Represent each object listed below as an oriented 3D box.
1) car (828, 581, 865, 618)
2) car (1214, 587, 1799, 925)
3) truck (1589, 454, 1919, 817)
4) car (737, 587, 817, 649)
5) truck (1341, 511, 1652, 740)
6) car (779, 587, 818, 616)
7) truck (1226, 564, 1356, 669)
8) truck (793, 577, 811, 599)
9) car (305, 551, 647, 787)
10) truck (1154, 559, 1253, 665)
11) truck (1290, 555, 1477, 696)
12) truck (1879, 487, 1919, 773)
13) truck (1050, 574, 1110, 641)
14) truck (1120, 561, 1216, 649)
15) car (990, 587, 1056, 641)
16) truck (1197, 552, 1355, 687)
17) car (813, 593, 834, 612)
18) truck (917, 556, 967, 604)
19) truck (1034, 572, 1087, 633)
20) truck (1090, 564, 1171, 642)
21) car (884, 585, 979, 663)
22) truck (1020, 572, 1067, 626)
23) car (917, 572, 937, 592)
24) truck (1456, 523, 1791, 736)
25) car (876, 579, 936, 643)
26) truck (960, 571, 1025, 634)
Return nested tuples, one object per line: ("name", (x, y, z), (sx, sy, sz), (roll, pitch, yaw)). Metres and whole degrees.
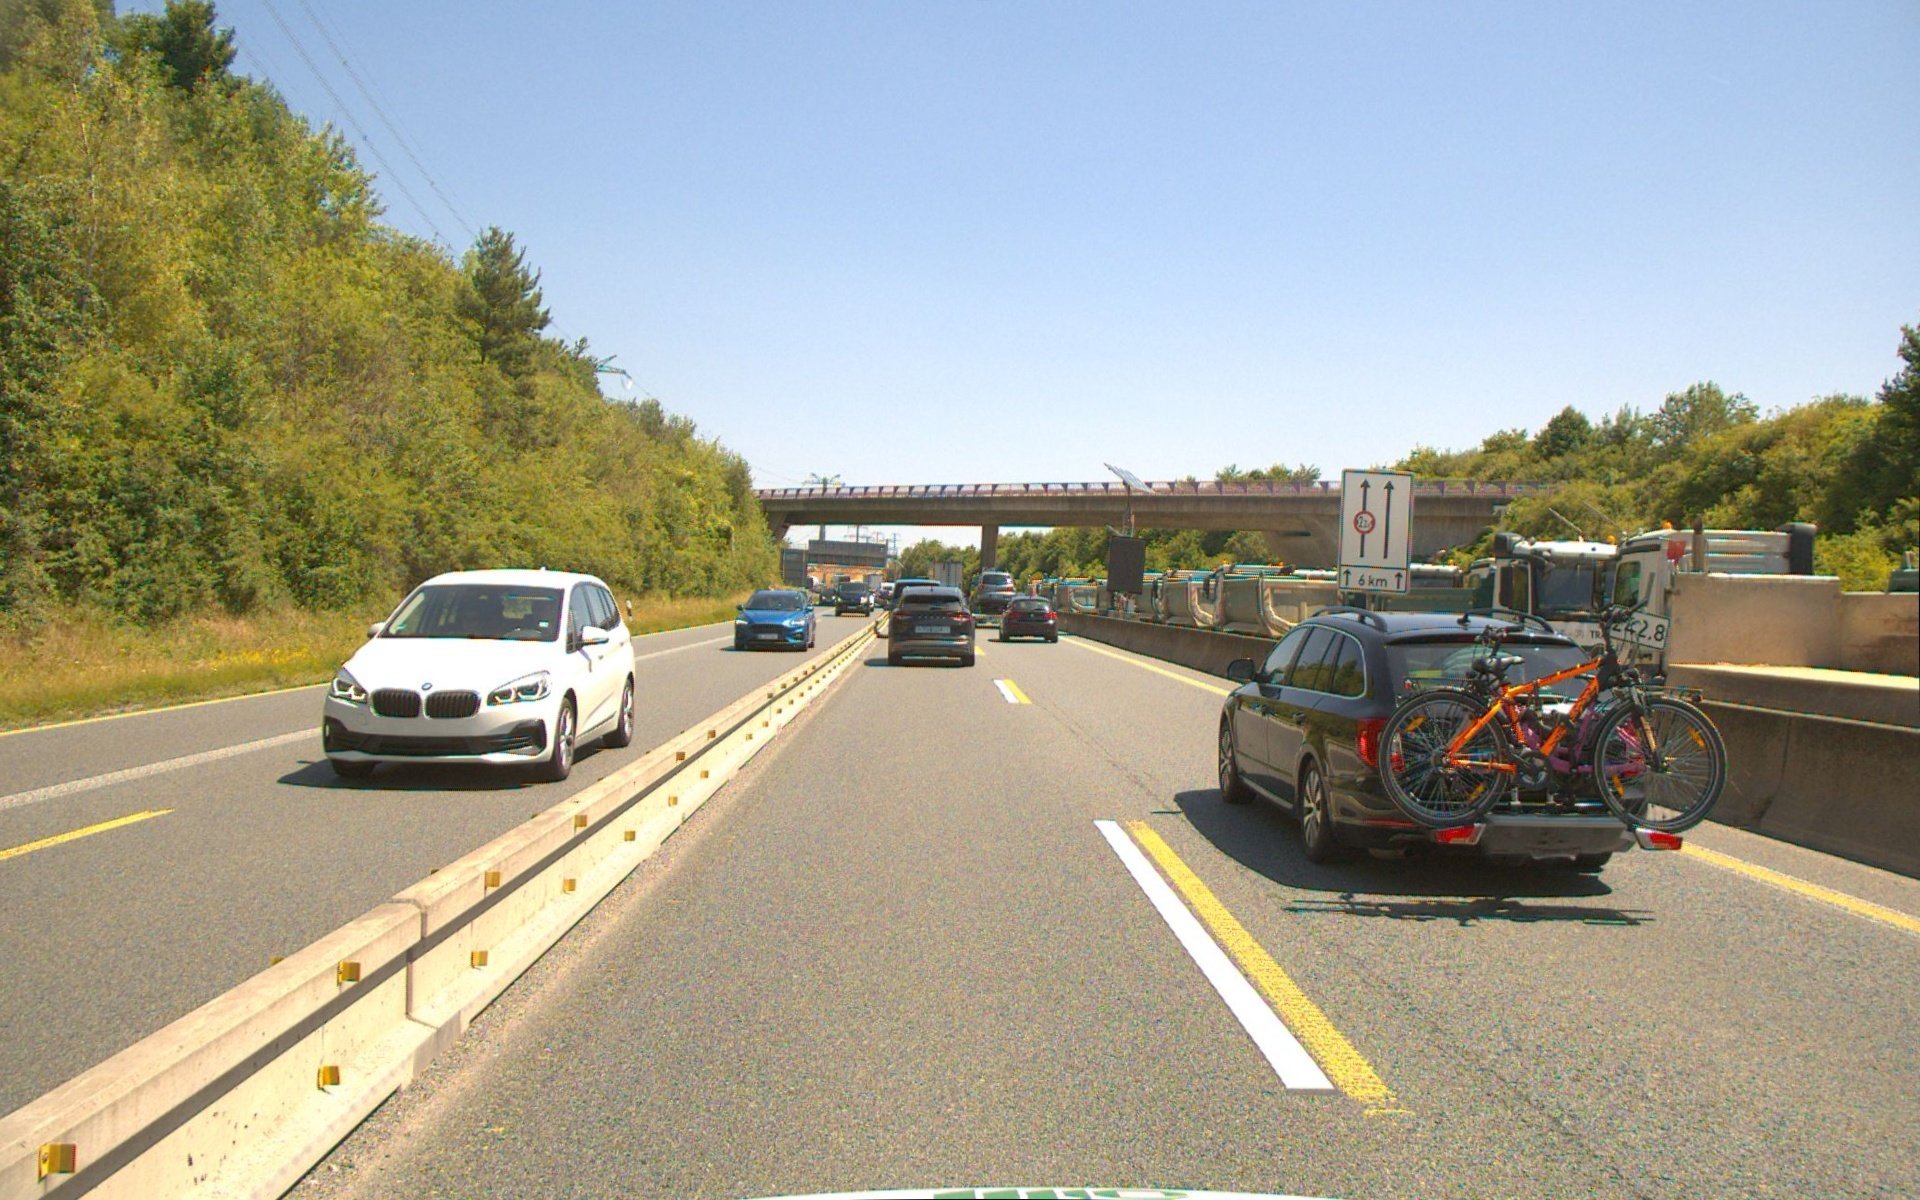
("car", (-6.570, -0.068, 96.042), (1.852, 2.049, 4.817), (2, 0, -1))
("car", (2.907, 0.726, 10.103), (1.860, 1.516, 4.946), (1, 0, -1))
("truck", (10.663, 0.354, 20.106), (2.481, 3.572, 8.943), (1, 0, -1))
("car", (-4.558, 0.441, 41.705), (1.678, 1.450, 4.168), (1, 0, -2))
("truck", (9.716, 0.383, 31.335), (2.487, 3.619, 9.599), (1, 0, -2))
("car", (-8.968, 0.063, 91.899), (1.757, 1.552, 4.530), (2, 0, -1))
("truck", (11.857, 0.527, 60.191), (2.632, 3.437, 9.601), (1, 0, -1))
("truck", (-23.856, -1.777, 249.424), (2.460, 3.242, 10.096), (1, 0, -6))
("car", (-3.890, 0.501, 14.067), (1.727, 1.660, 4.295), (1, 0, -2))
("truck", (8.989, 0.404, 62.084), (2.631, 3.619, 9.409), (1, 0, 2))
("truck", (11.989, 0.639, 47.865), (2.633, 3.619, 9.599), (1, 0, -2))
("truck", (13.385, 0.419, 17.302), (2.633, 3.572, 8.377), (1, 0, -2))
("truck", (7.255, 0.401, 101.221), (2.633, 3.826, 9.321), (1, 0, -2))
("truck", (9.129, 0.179, 73.660), (2.633, 3.619, 9.321), (1, 0, -2))
("car", (1.985, 0.422, 52.955), (1.860, 1.613, 4.275), (1, 0, -1))
("truck", (9.299, 0.499, 49.833), (2.633, 3.619, 9.600), (1, 0, -1))
("car", (-12.176, 0.225, 147.730), (1.665, 1.592, 3.994), (2, 0, -1))
("truck", (-1.609, -1.722, 142.913), (3.229, 3.912, 10.096), (1, 0, -6))
("truck", (6.776, 0.140, 112.619), (2.633, 3.923, 9.321), (1, 0, -2))
("truck", (8.394, 0.125, 82.611), (2.633, 3.619, 9.321), (1, 0, -2))
("car", (-0.596, 0.477, 35.247), (1.860, 1.531, 4.275), (1, 0, -1))
("truck", (6.248, -0.108, 125.236), (2.633, 3.910, 9.321), (1, 0, -2))
("car", (-3.613, -1.927, 178.003), (1.862, 2.003, 4.272), (1, 0, -5))
("truck", (12.898, 0.491, 33.356), (2.633, 3.619, 9.600), (1, 0, -1))
("car", (-1.739, 0.353, 54.866), (1.860, 2.003, 4.275), (1, 0, -1))
("truck", (1.366, 0.055, 73.468), (2.357, 2.603, 7.496), (1, 1, -3))
